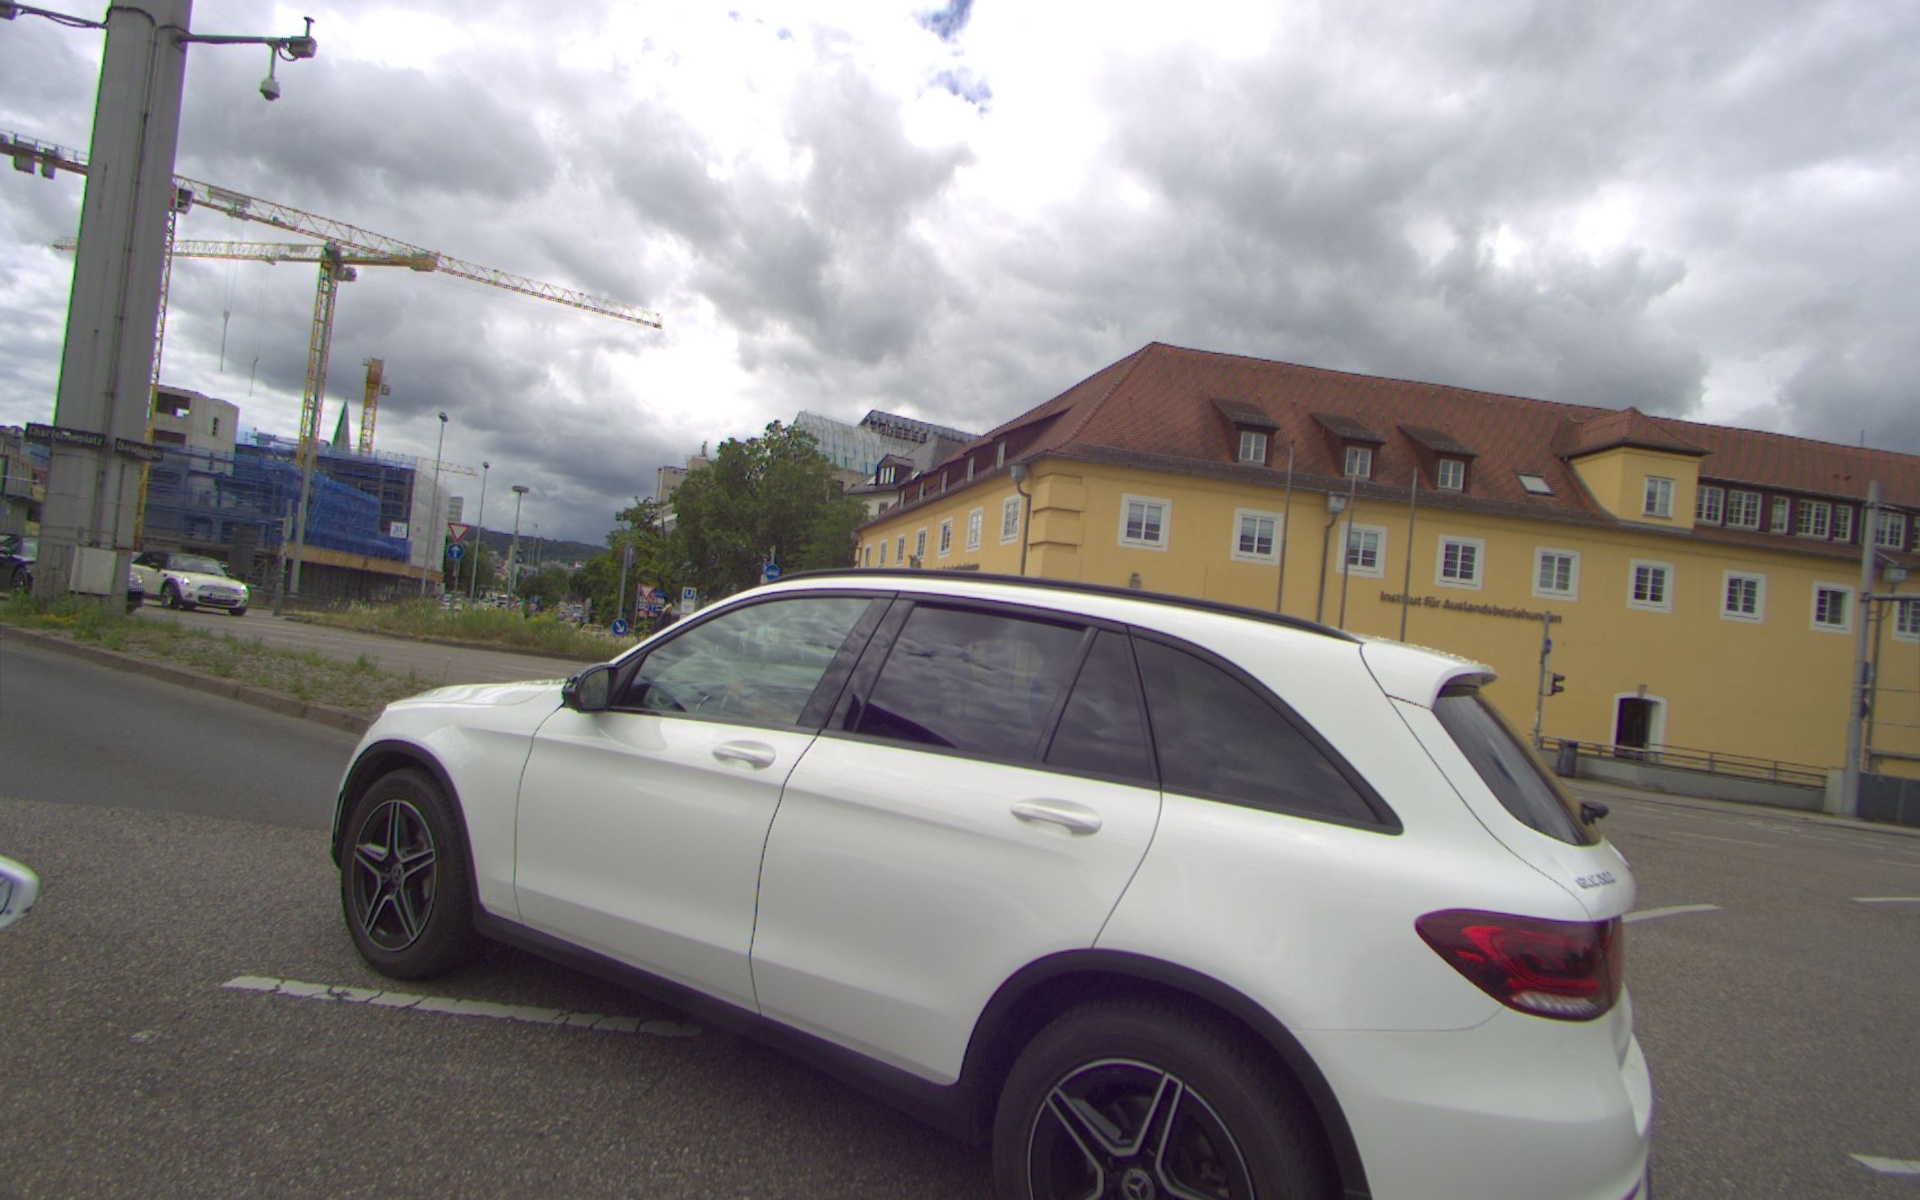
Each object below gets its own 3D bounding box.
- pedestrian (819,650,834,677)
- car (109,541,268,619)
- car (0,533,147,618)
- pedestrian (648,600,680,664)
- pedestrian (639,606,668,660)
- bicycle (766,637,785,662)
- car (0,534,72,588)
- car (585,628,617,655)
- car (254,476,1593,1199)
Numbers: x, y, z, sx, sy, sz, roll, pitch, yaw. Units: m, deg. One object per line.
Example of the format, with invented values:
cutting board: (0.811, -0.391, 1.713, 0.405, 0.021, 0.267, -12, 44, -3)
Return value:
pedestrian: (-7.828, 3.736, 58.960, 0.617, 1.467, 0.722, 7, -1, -12)
car: (-19.523, -0.506, 25.458, 3.584, 1.434, 1.729, 6, -3, 28)
car: (-17.979, -0.538, 19.686, 3.986, 1.280, 1.675, 6, -1, 27)
pedestrian: (-9.380, 1.007, 31.878, 0.554, 1.918, 0.632, 7, 0, -39)
pedestrian: (-10.851, 1.177, 35.625, 0.742, 1.809, 0.824, 7, -2, -20)
bicycle: (-9.093, 2.423, 49.541, 0.612, 1.098, 1.767, 7, -3, -18)
car: (-29.325, -1.307, 30.690, 4.335, 1.347, 1.760, 5, -4, 27)
car: (-25.208, 2.917, 70.698, 1.853, 1.618, 3.990, 8, -5, -18)
car: (-0.384, 0.632, 3.581, 4.262, 1.665, 1.805, 6, -2, 31)
